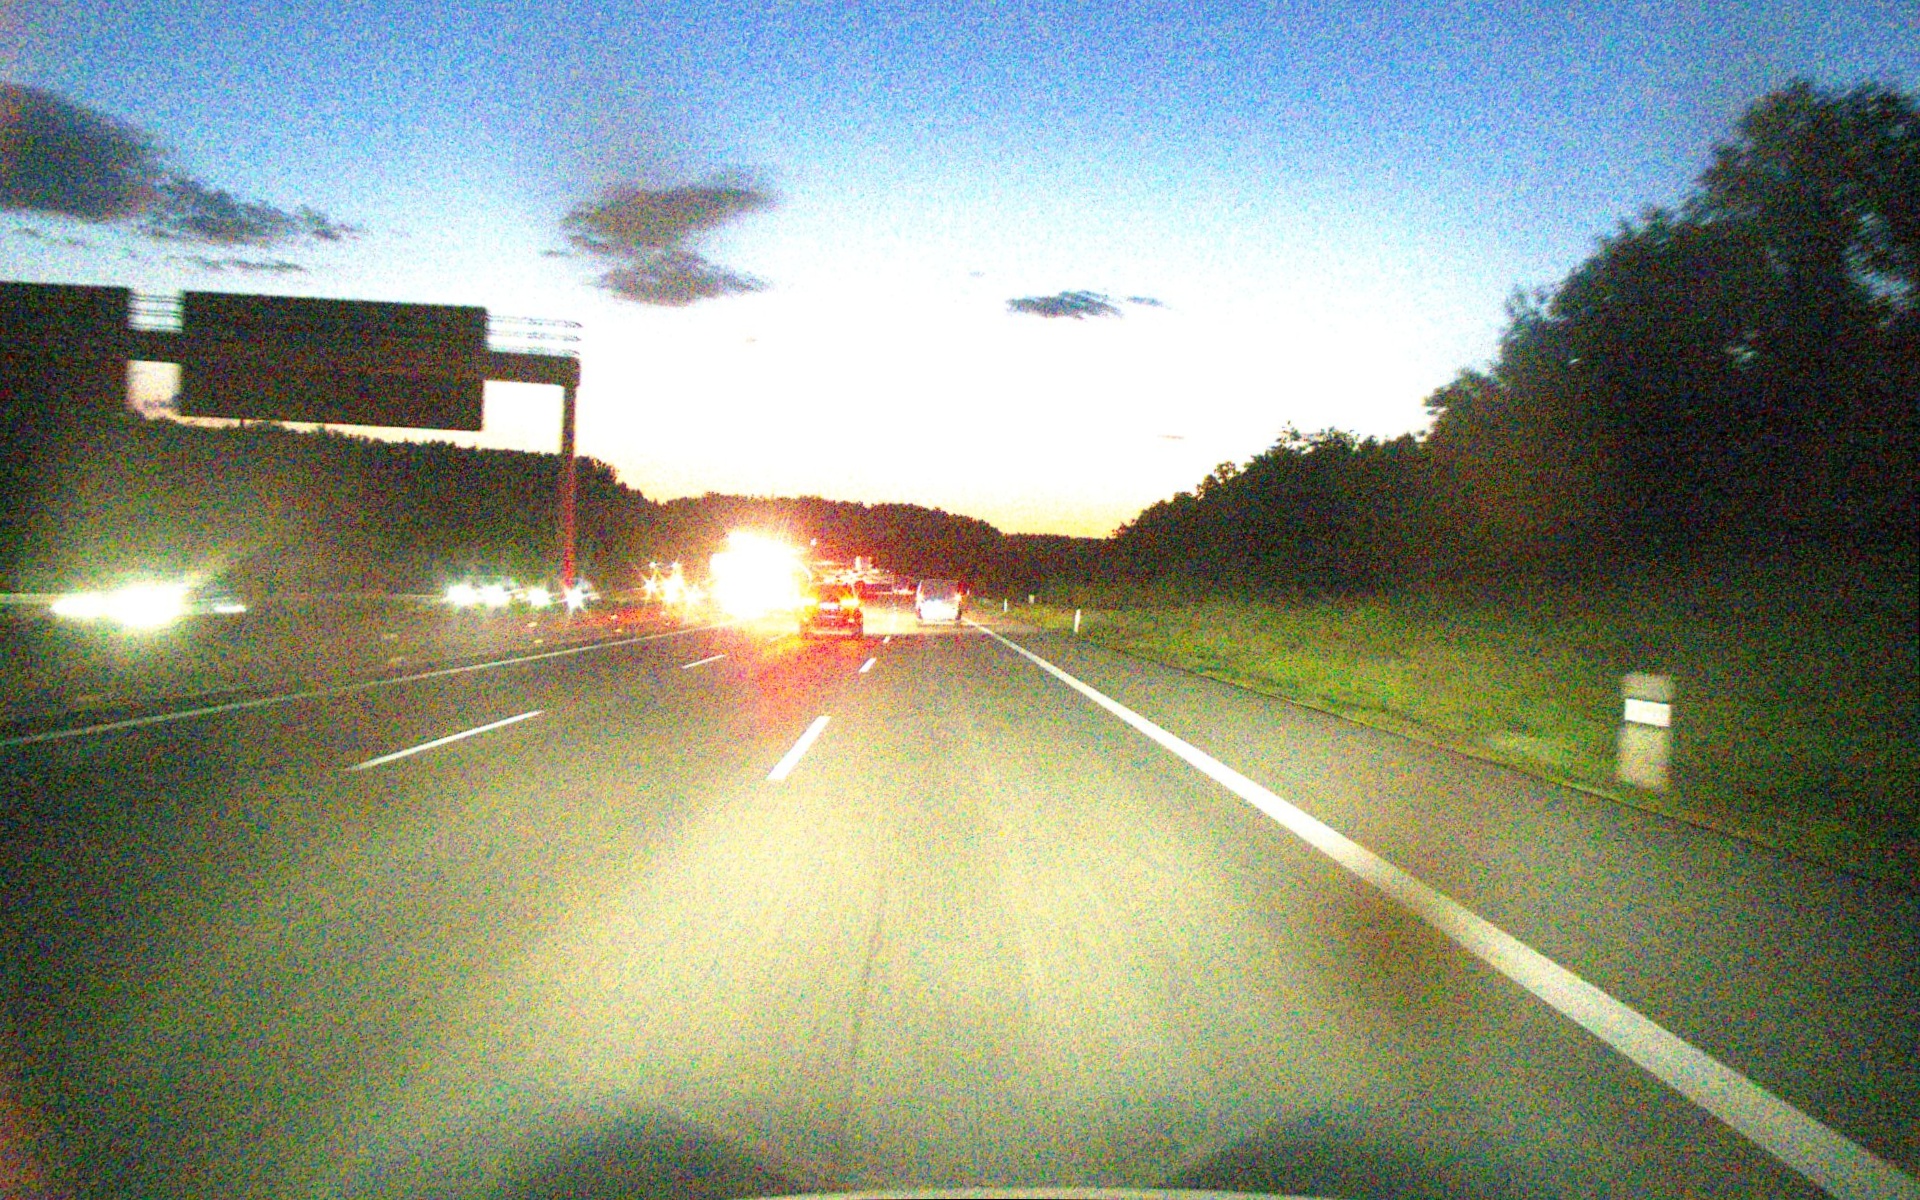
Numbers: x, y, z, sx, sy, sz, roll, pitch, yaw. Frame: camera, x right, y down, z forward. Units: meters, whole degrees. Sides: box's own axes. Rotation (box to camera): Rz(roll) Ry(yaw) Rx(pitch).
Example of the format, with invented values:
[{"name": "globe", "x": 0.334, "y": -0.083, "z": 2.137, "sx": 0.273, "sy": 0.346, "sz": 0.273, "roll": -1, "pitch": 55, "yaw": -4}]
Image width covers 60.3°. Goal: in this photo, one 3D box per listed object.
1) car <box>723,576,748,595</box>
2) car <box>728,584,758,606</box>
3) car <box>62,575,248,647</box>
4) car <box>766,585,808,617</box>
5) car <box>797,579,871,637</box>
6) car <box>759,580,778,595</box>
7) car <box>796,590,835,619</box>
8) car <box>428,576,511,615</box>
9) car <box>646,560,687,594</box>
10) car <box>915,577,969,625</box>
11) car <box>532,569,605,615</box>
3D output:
[{"name": "car", "x": -24.332, "y": -1.553, "z": 179.392, "sx": 2.102, "sy": 1.918, "sz": 5.422, "roll": 1, "pitch": 0, "yaw": -2}, {"name": "car", "x": -18.459, "y": -0.442, "z": 140.766, "sx": 1.953, "sy": 1.764, "sz": 4.658, "roll": 1, "pitch": 0, "yaw": -1}, {"name": "car", "x": -18.753, "y": 0.221, "z": 38.847, "sx": 1.953, "sy": 1.535, "sz": 5.201, "roll": 1, "pitch": 0, "yaw": -2}, {"name": "car", "x": -8.334, "y": 0.035, "z": 80.103, "sx": 1.518, "sy": 1.456, "sz": 5.514, "roll": 1, "pitch": 0, "yaw": -1}, {"name": "car", "x": -3.969, "y": 0.226, "z": 52.831, "sx": 1.953, "sy": 1.751, "sz": 5.941, "roll": 0, "pitch": 0, "yaw": -1}, {"name": "car", "x": -23.990, "y": -1.593, "z": 207.182, "sx": 1.953, "sy": 1.764, "sz": 4.657, "roll": 1, "pitch": 0, "yaw": -2}, {"name": "car", "x": -8.918, "y": 0.244, "z": 102.430, "sx": 1.743, "sy": 1.512, "sz": 5.255, "roll": 4, "pitch": 1, "yaw": 1}, {"name": "car", "x": -20.287, "y": -0.195, "z": 68.655, "sx": 1.953, "sy": 1.535, "sz": 5.184, "roll": 1, "pitch": 0, "yaw": -1}, {"name": "car", "x": -26.352, "y": -2.040, "z": 148.753, "sx": 2.408, "sy": 2.987, "sz": 8.330, "roll": 1, "pitch": 0, "yaw": -2}, {"name": "car", "x": -0.812, "y": 0.012, "z": 71.634, "sx": 2.153, "sy": 1.989, "sz": 4.761, "roll": 0, "pitch": 1, "yaw": -3}, {"name": "car", "x": -16.018, "y": -0.326, "z": 67.924, "sx": 1.953, "sy": 1.764, "sz": 4.658, "roll": 1, "pitch": 0, "yaw": -1}]
